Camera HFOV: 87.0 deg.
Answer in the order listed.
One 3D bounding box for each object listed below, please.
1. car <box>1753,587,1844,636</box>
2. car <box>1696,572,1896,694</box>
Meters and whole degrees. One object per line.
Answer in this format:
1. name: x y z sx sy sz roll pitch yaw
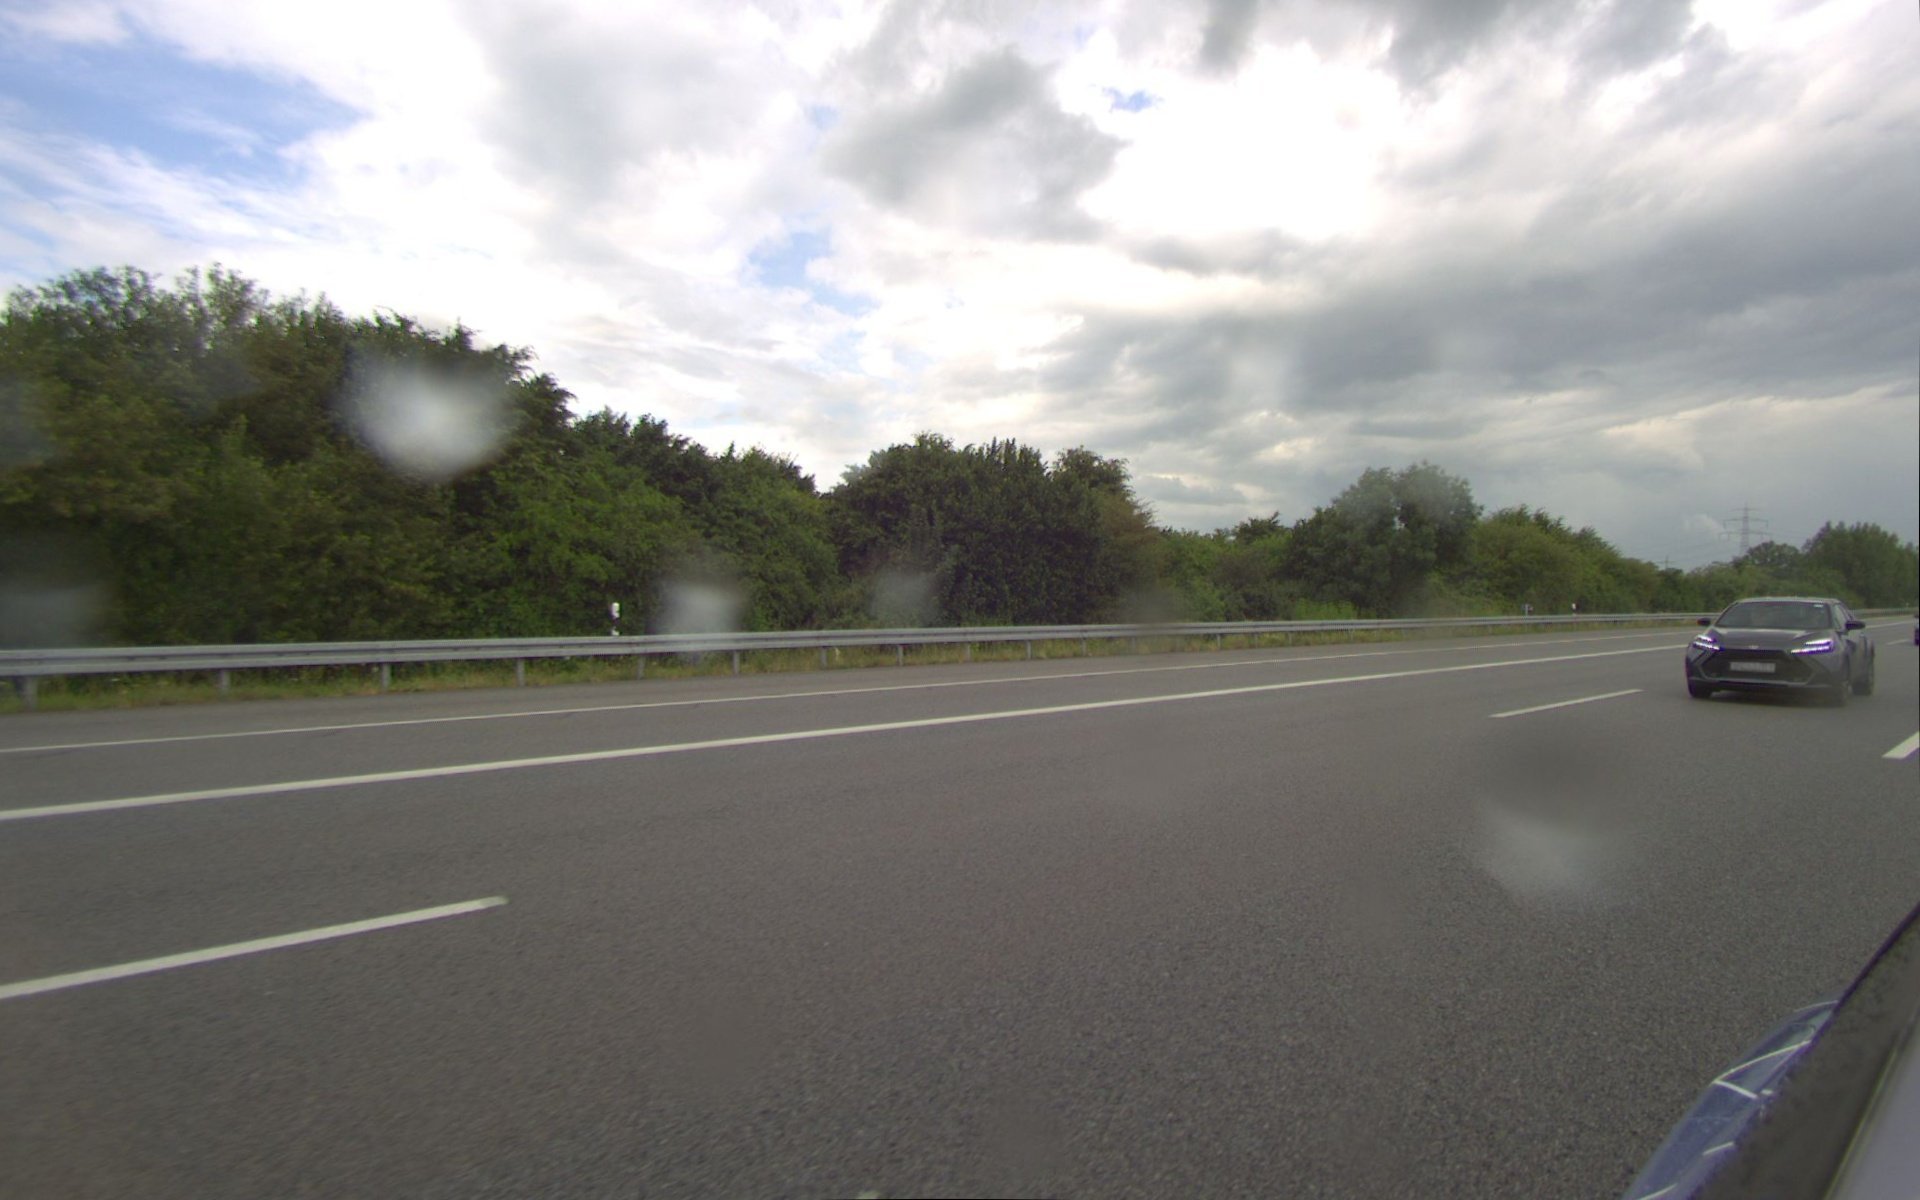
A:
1. car: 29.188 0.363 35.184 4.615 1.619 1.813 0 0 -42
2. car: 13.066 0.433 15.718 4.519 1.633 1.783 0 0 -42
